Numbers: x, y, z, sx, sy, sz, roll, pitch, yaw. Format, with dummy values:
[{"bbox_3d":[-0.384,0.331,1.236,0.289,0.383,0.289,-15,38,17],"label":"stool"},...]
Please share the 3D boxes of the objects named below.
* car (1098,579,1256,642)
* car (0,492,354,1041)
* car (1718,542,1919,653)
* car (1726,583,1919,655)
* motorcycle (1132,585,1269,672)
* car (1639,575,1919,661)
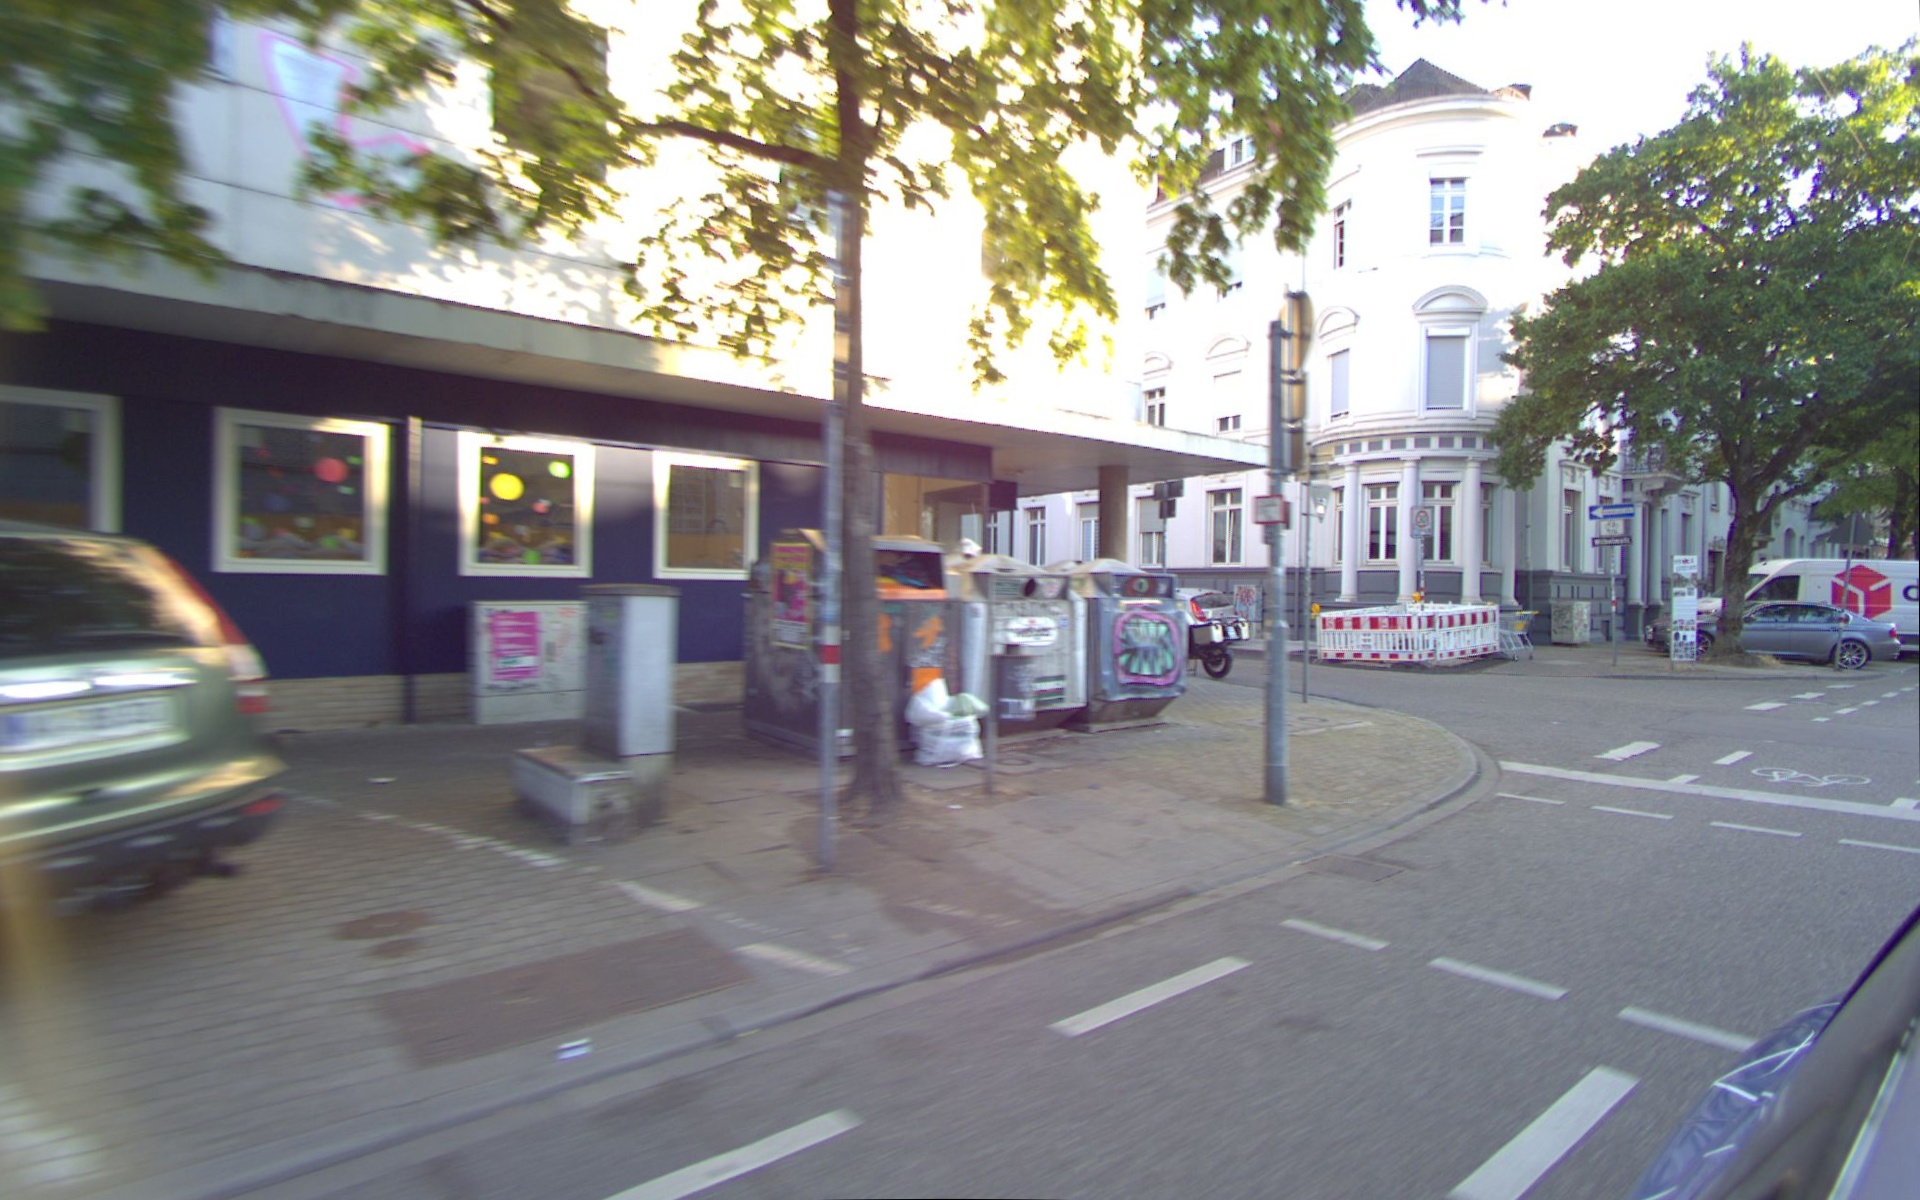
[{"bbox_3d":[5.638,0.228,26.720,1.818,1.510,3.900,0,1,-34],"label":"car"},{"bbox_3d":[-4.796,0.378,3.980,4.110,1.684,1.834,4,3,16],"label":"car"},{"bbox_3d":[23.443,-0.085,26.259,5.561,2.728,2.161,1,1,16],"label":"car"},{"bbox_3d":[21.339,0.446,24.178,4.354,1.462,1.975,3,3,21],"label":"car"},{"bbox_3d":[4.258,0.461,18.070,1.265,1.422,2.099,-1,1,-33],"label":"motorcycle"},{"bbox_3d":[18.180,0.345,22.683,4.557,1.532,1.848,4,2,23],"label":"car"}]
